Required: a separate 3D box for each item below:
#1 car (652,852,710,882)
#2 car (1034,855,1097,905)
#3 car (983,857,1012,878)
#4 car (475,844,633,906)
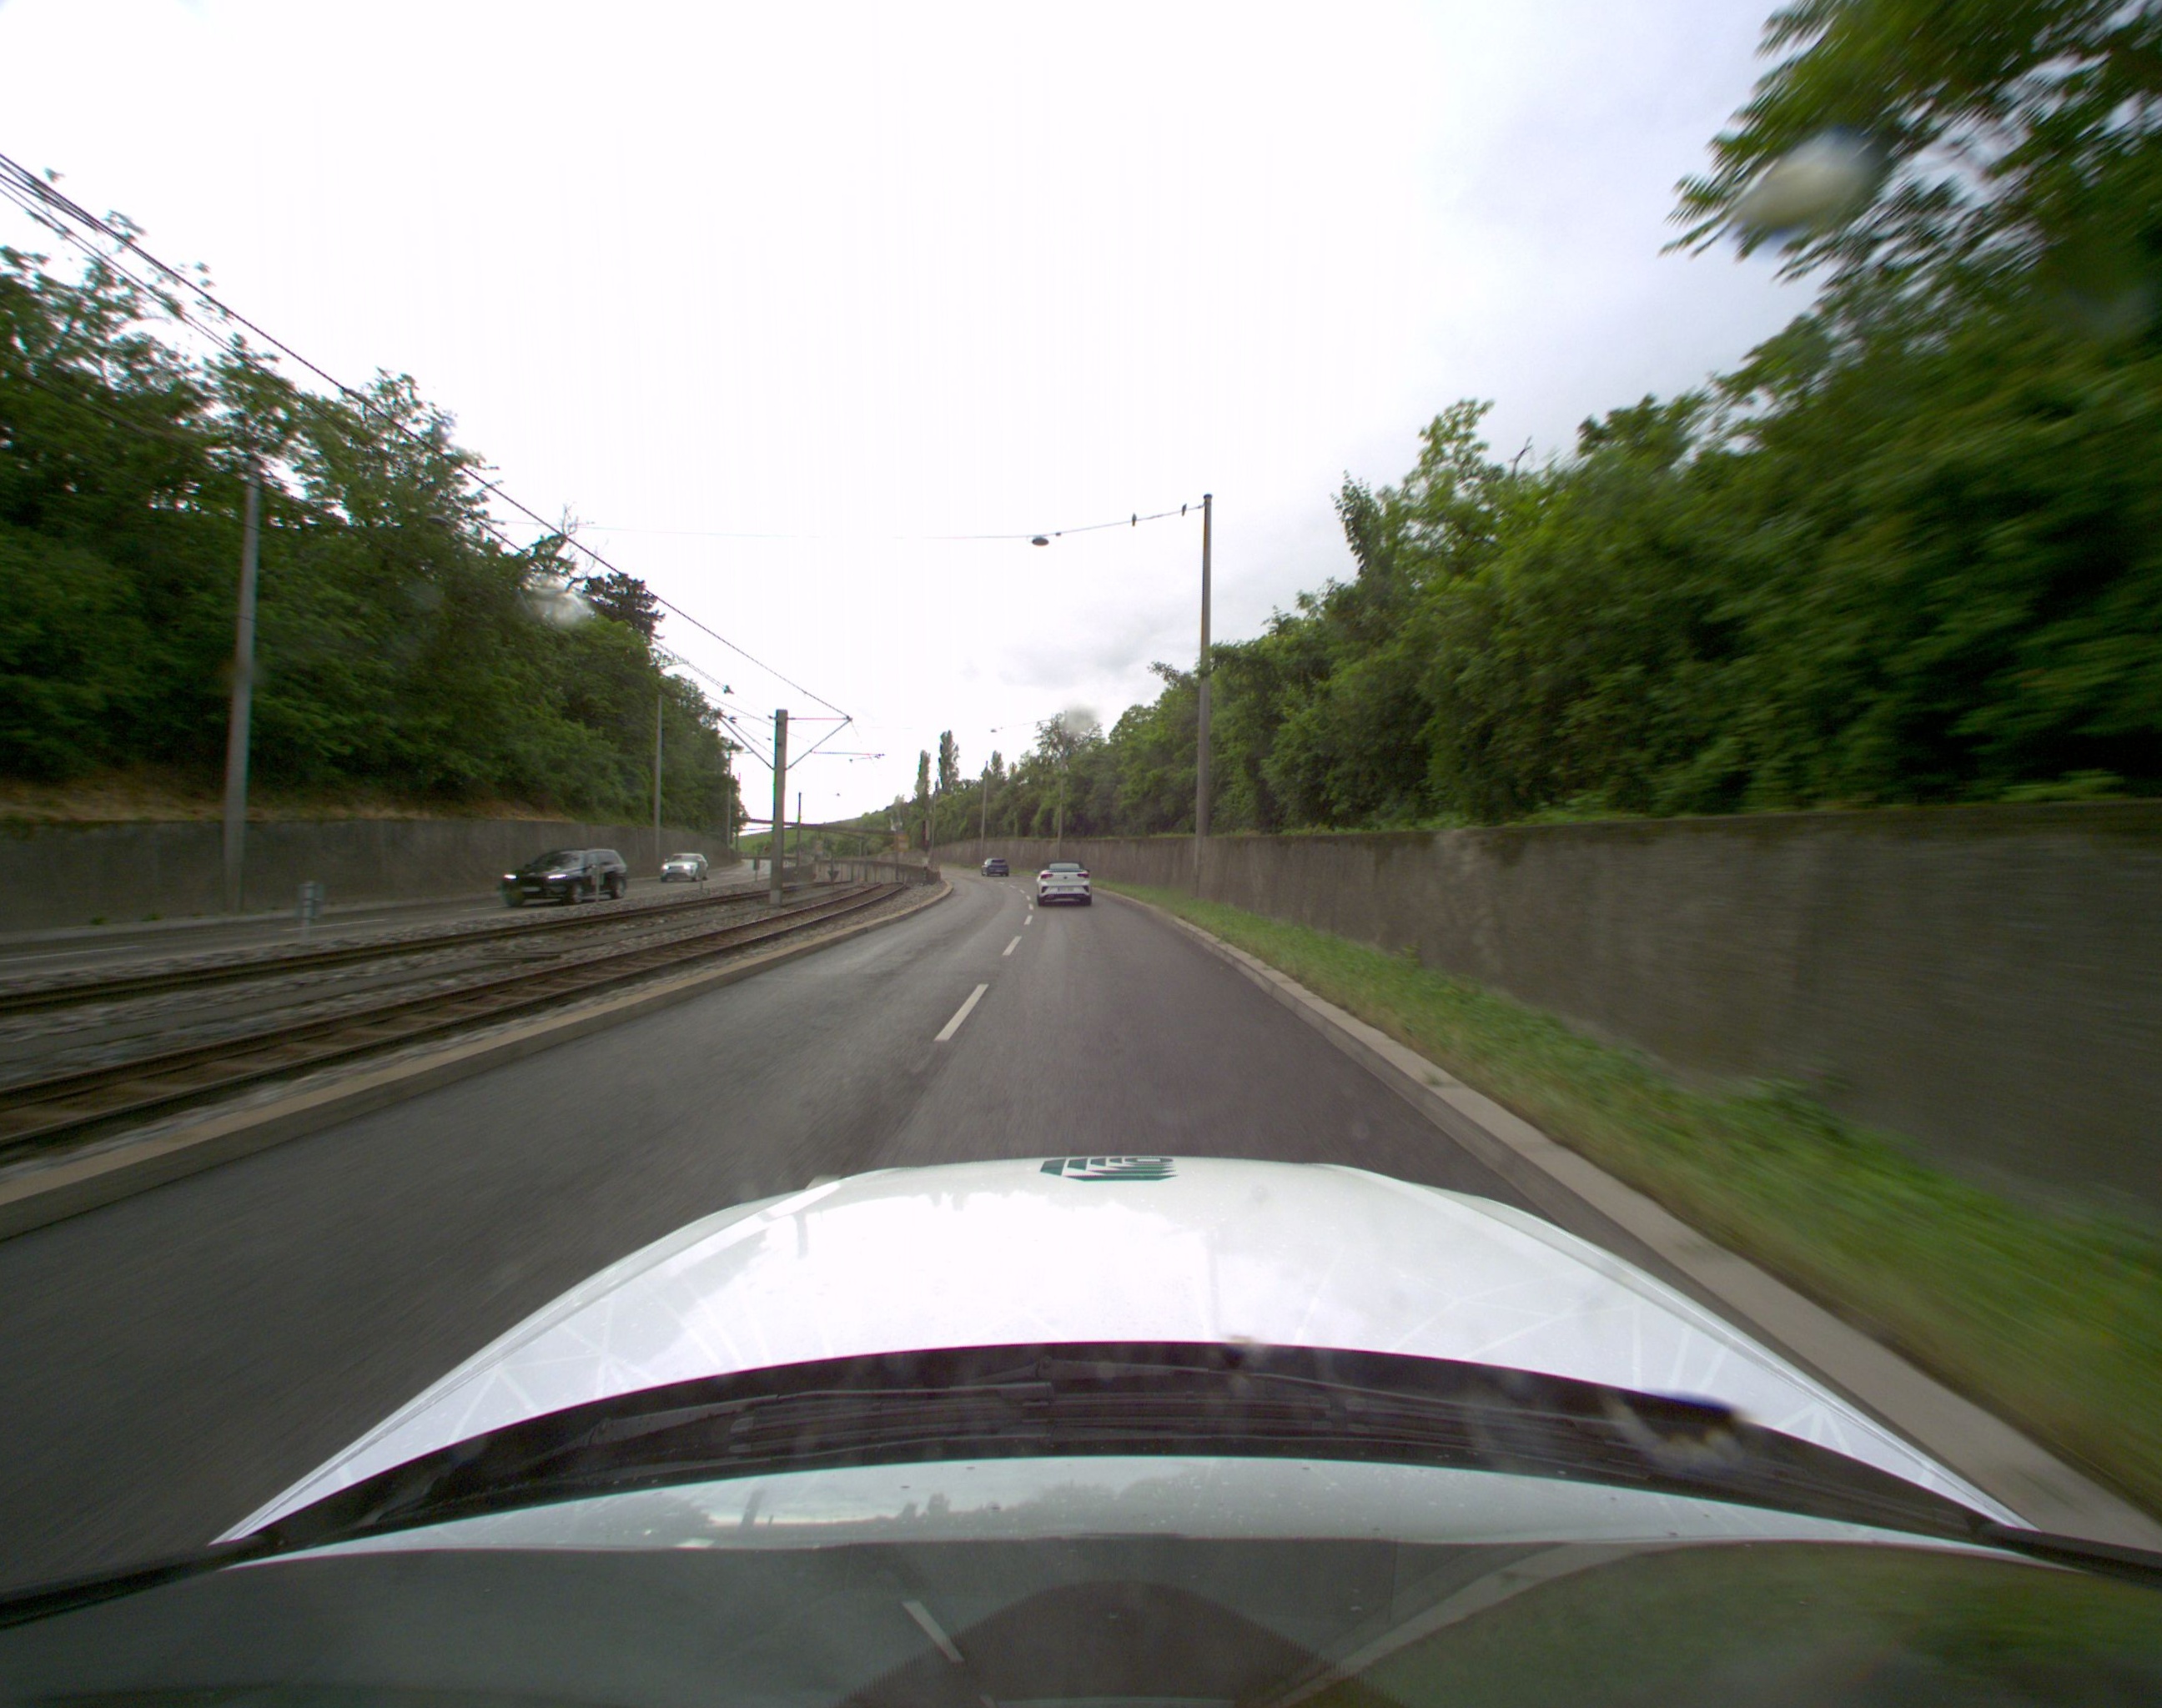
[{"bbox_3d":[-23.417,0.747,47.874,1.935,1.683,4.392,0,0,-11],"label":"car"},{"bbox_3d":[-0.596,0.826,28.090,1.991,1.578,4.121,0,0,-3],"label":"car"},{"bbox_3d":[-6.758,1.042,65.606,1.928,1.599,4.045,0,0,-12],"label":"car"},{"bbox_3d":[-17.046,0.628,26.759,2.230,1.831,5.127,0,0,-6],"label":"car"}]
